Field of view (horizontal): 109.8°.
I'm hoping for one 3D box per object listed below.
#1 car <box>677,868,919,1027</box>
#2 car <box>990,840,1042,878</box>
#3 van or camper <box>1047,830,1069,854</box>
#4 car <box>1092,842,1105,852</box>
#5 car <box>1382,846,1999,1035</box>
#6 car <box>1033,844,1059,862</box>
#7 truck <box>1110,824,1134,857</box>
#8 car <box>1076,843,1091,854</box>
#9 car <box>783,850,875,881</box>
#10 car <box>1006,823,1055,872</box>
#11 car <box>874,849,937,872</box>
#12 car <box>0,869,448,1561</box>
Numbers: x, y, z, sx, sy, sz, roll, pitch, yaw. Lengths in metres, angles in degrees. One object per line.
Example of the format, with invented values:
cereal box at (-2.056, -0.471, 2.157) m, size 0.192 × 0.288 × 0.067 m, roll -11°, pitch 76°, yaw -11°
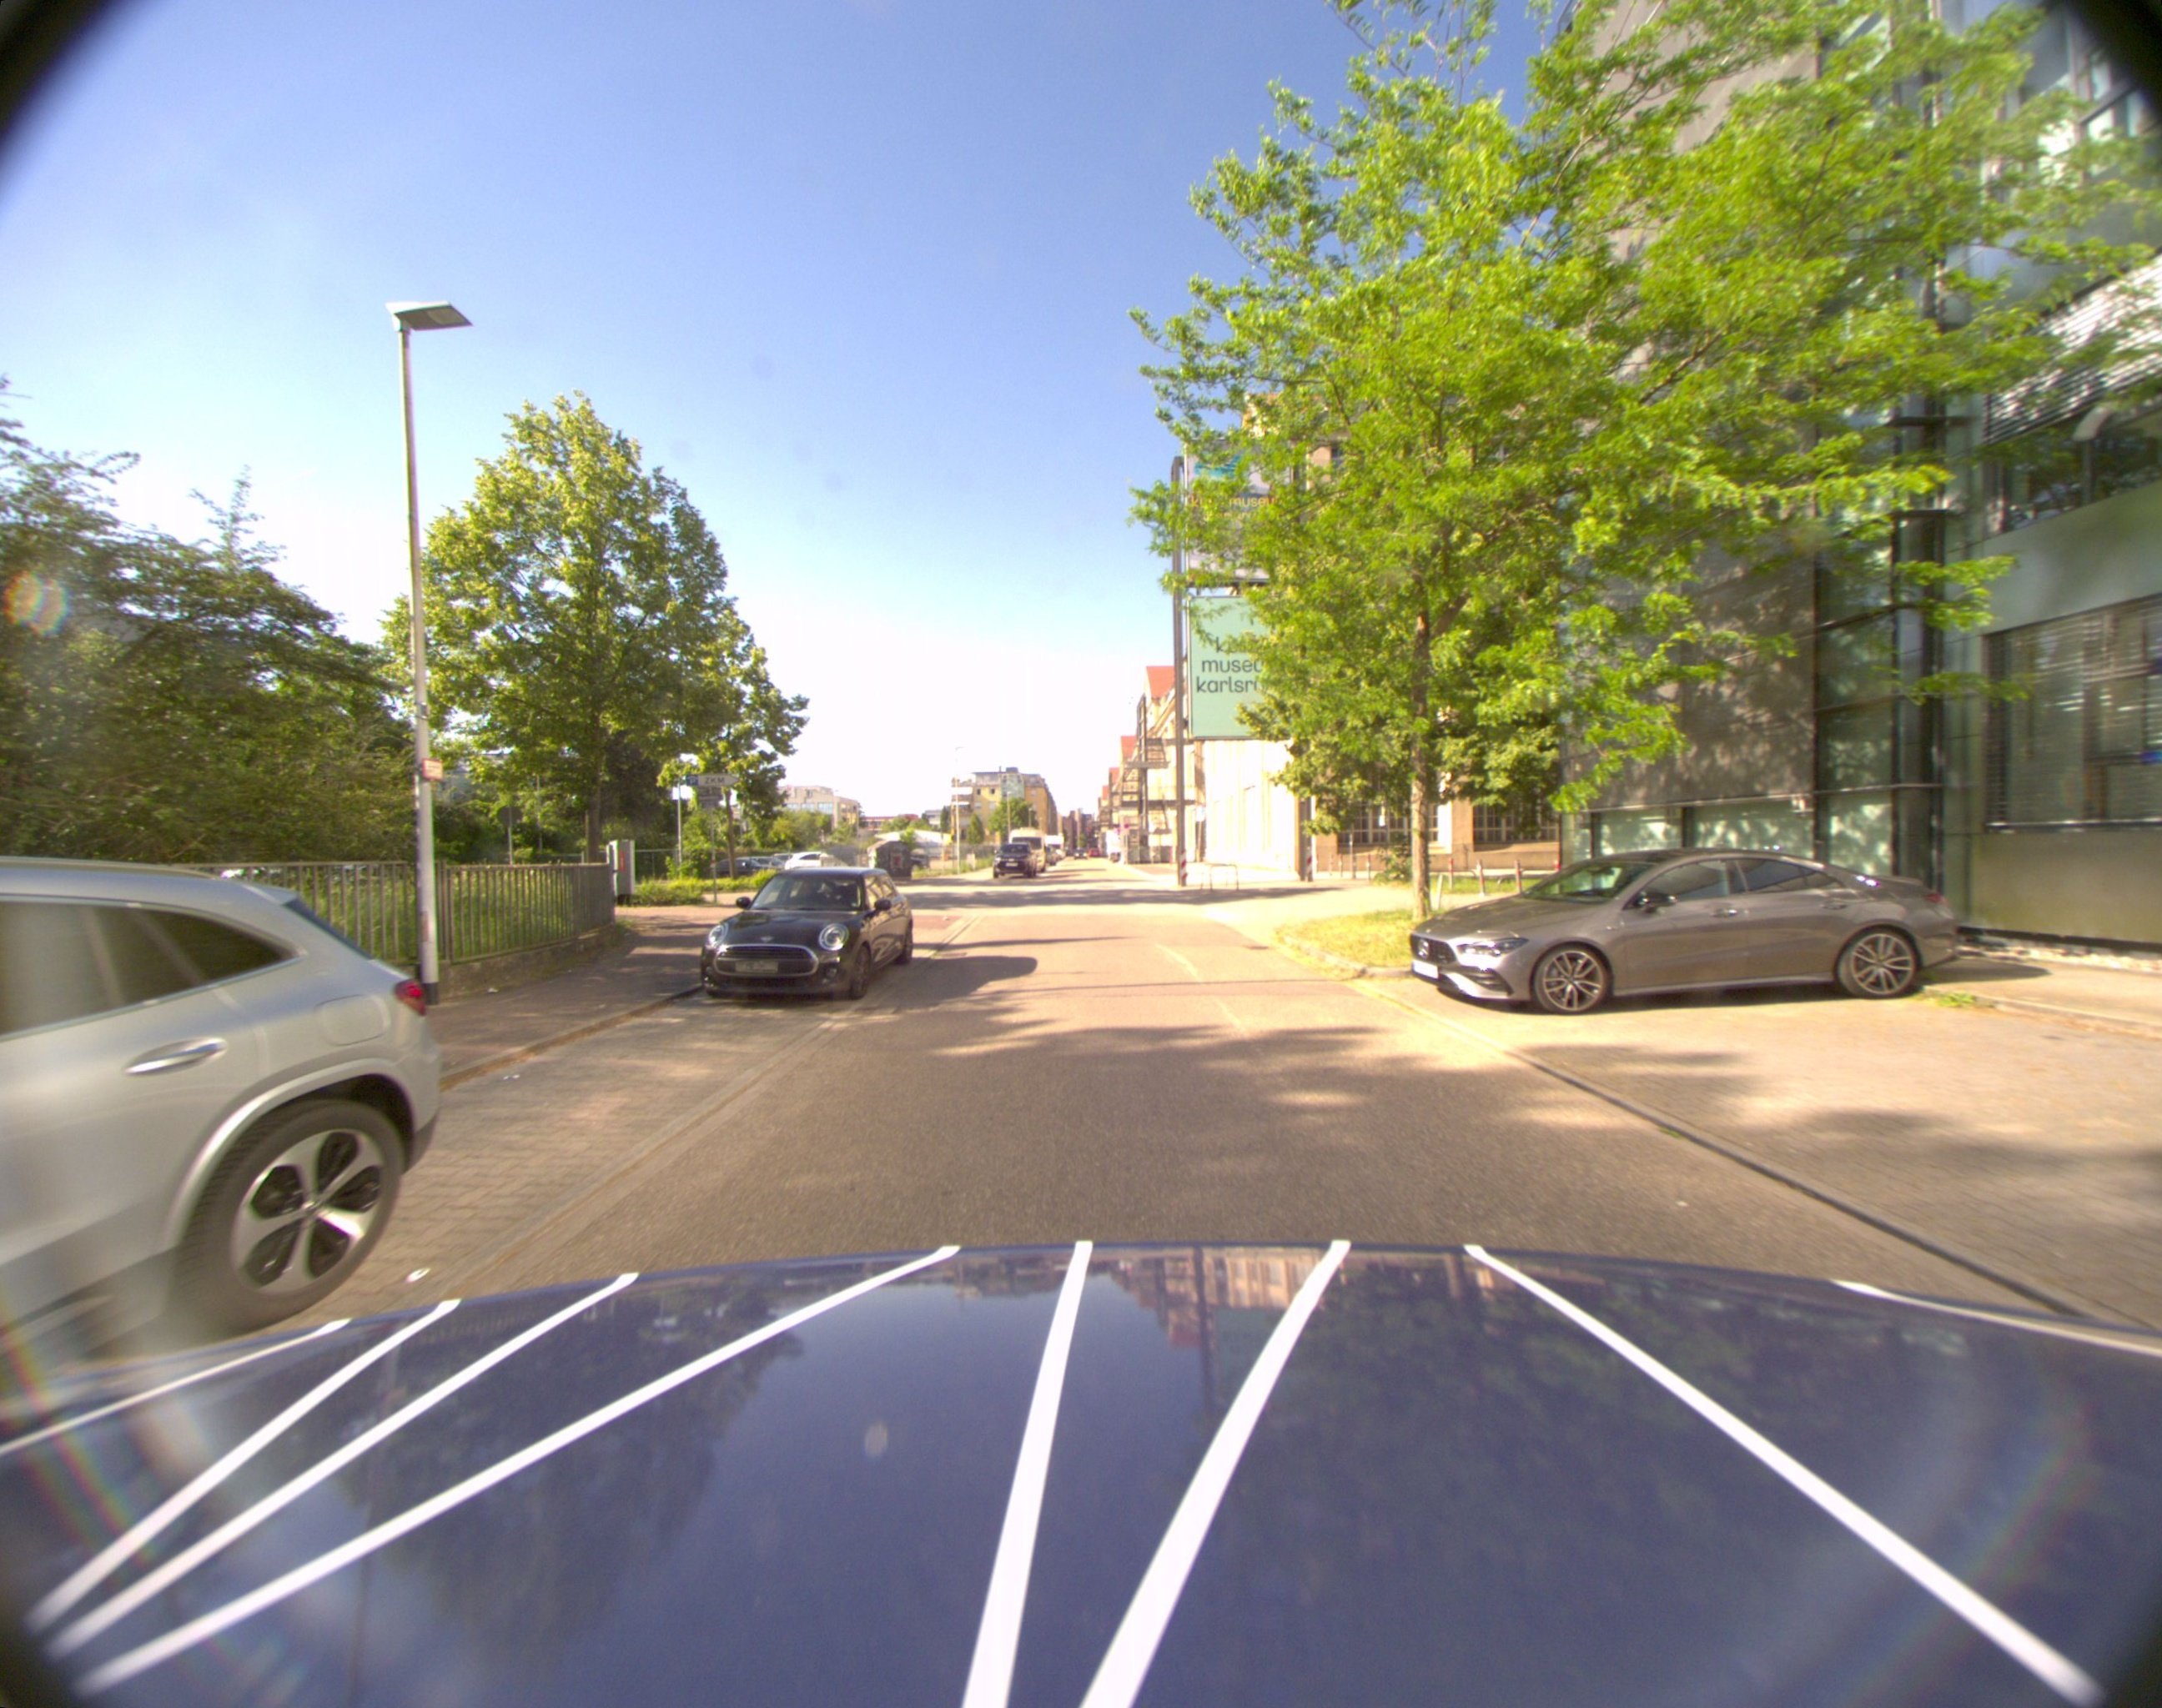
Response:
car at (-3.239, 0.982, 9.512) m, size 1.656 × 1.464 × 3.763 m, roll 0°, pitch 1°, yaw -1°
car at (-3.021, 0.194, 36.040) m, size 1.998 × 1.686 × 4.103 m, roll -1°, pitch 1°, yaw 2°
van or camper at (-2.865, -1.509, 95.465) m, size 2.722 × 2.841 × 5.132 m, roll -1°, pitch 1°, yaw -1°
car at (2.671, -1.095, 115.670) m, size 1.760 × 1.440 × 4.000 m, roll -1°, pitch 1°, yaw 2°
car at (5.645, 0.739, 7.499) m, size 4.546 × 1.343 × 1.892 m, roll -4°, pitch 1°, yaw 0°
car at (-2.855, -0.099, 62.854) m, size 1.850 × 1.417 × 4.224 m, roll -2°, pitch 1°, yaw 1°
truck at (4.461, -1.469, 82.889) m, size 2.499 × 3.412 × 7.127 m, roll 0°, pitch 1°, yaw 2°
car at (0.342, -0.749, 98.071) m, size 1.850 × 1.417 × 4.224 m, roll -1°, pitch 1°, yaw 1°
car at (-14.076, 0.648, 42.657) m, size 4.422 × 1.600 × 2.000 m, roll -1°, pitch 1°, yaw 3°
car at (-2.840, -0.377, 44.416) m, size 2.163 × 2.582 × 6.284 m, roll -2°, pitch 1°, yaw 2°
car at (-13.271, 0.489, 57.547) m, size 4.239 × 1.551 × 1.897 m, roll -1°, pitch 1°, yaw 3°
car at (-3.530, 0.912, 0.978) m, size 1.830 × 1.620 × 4.292 m, roll 0°, pitch 1°, yaw 0°
